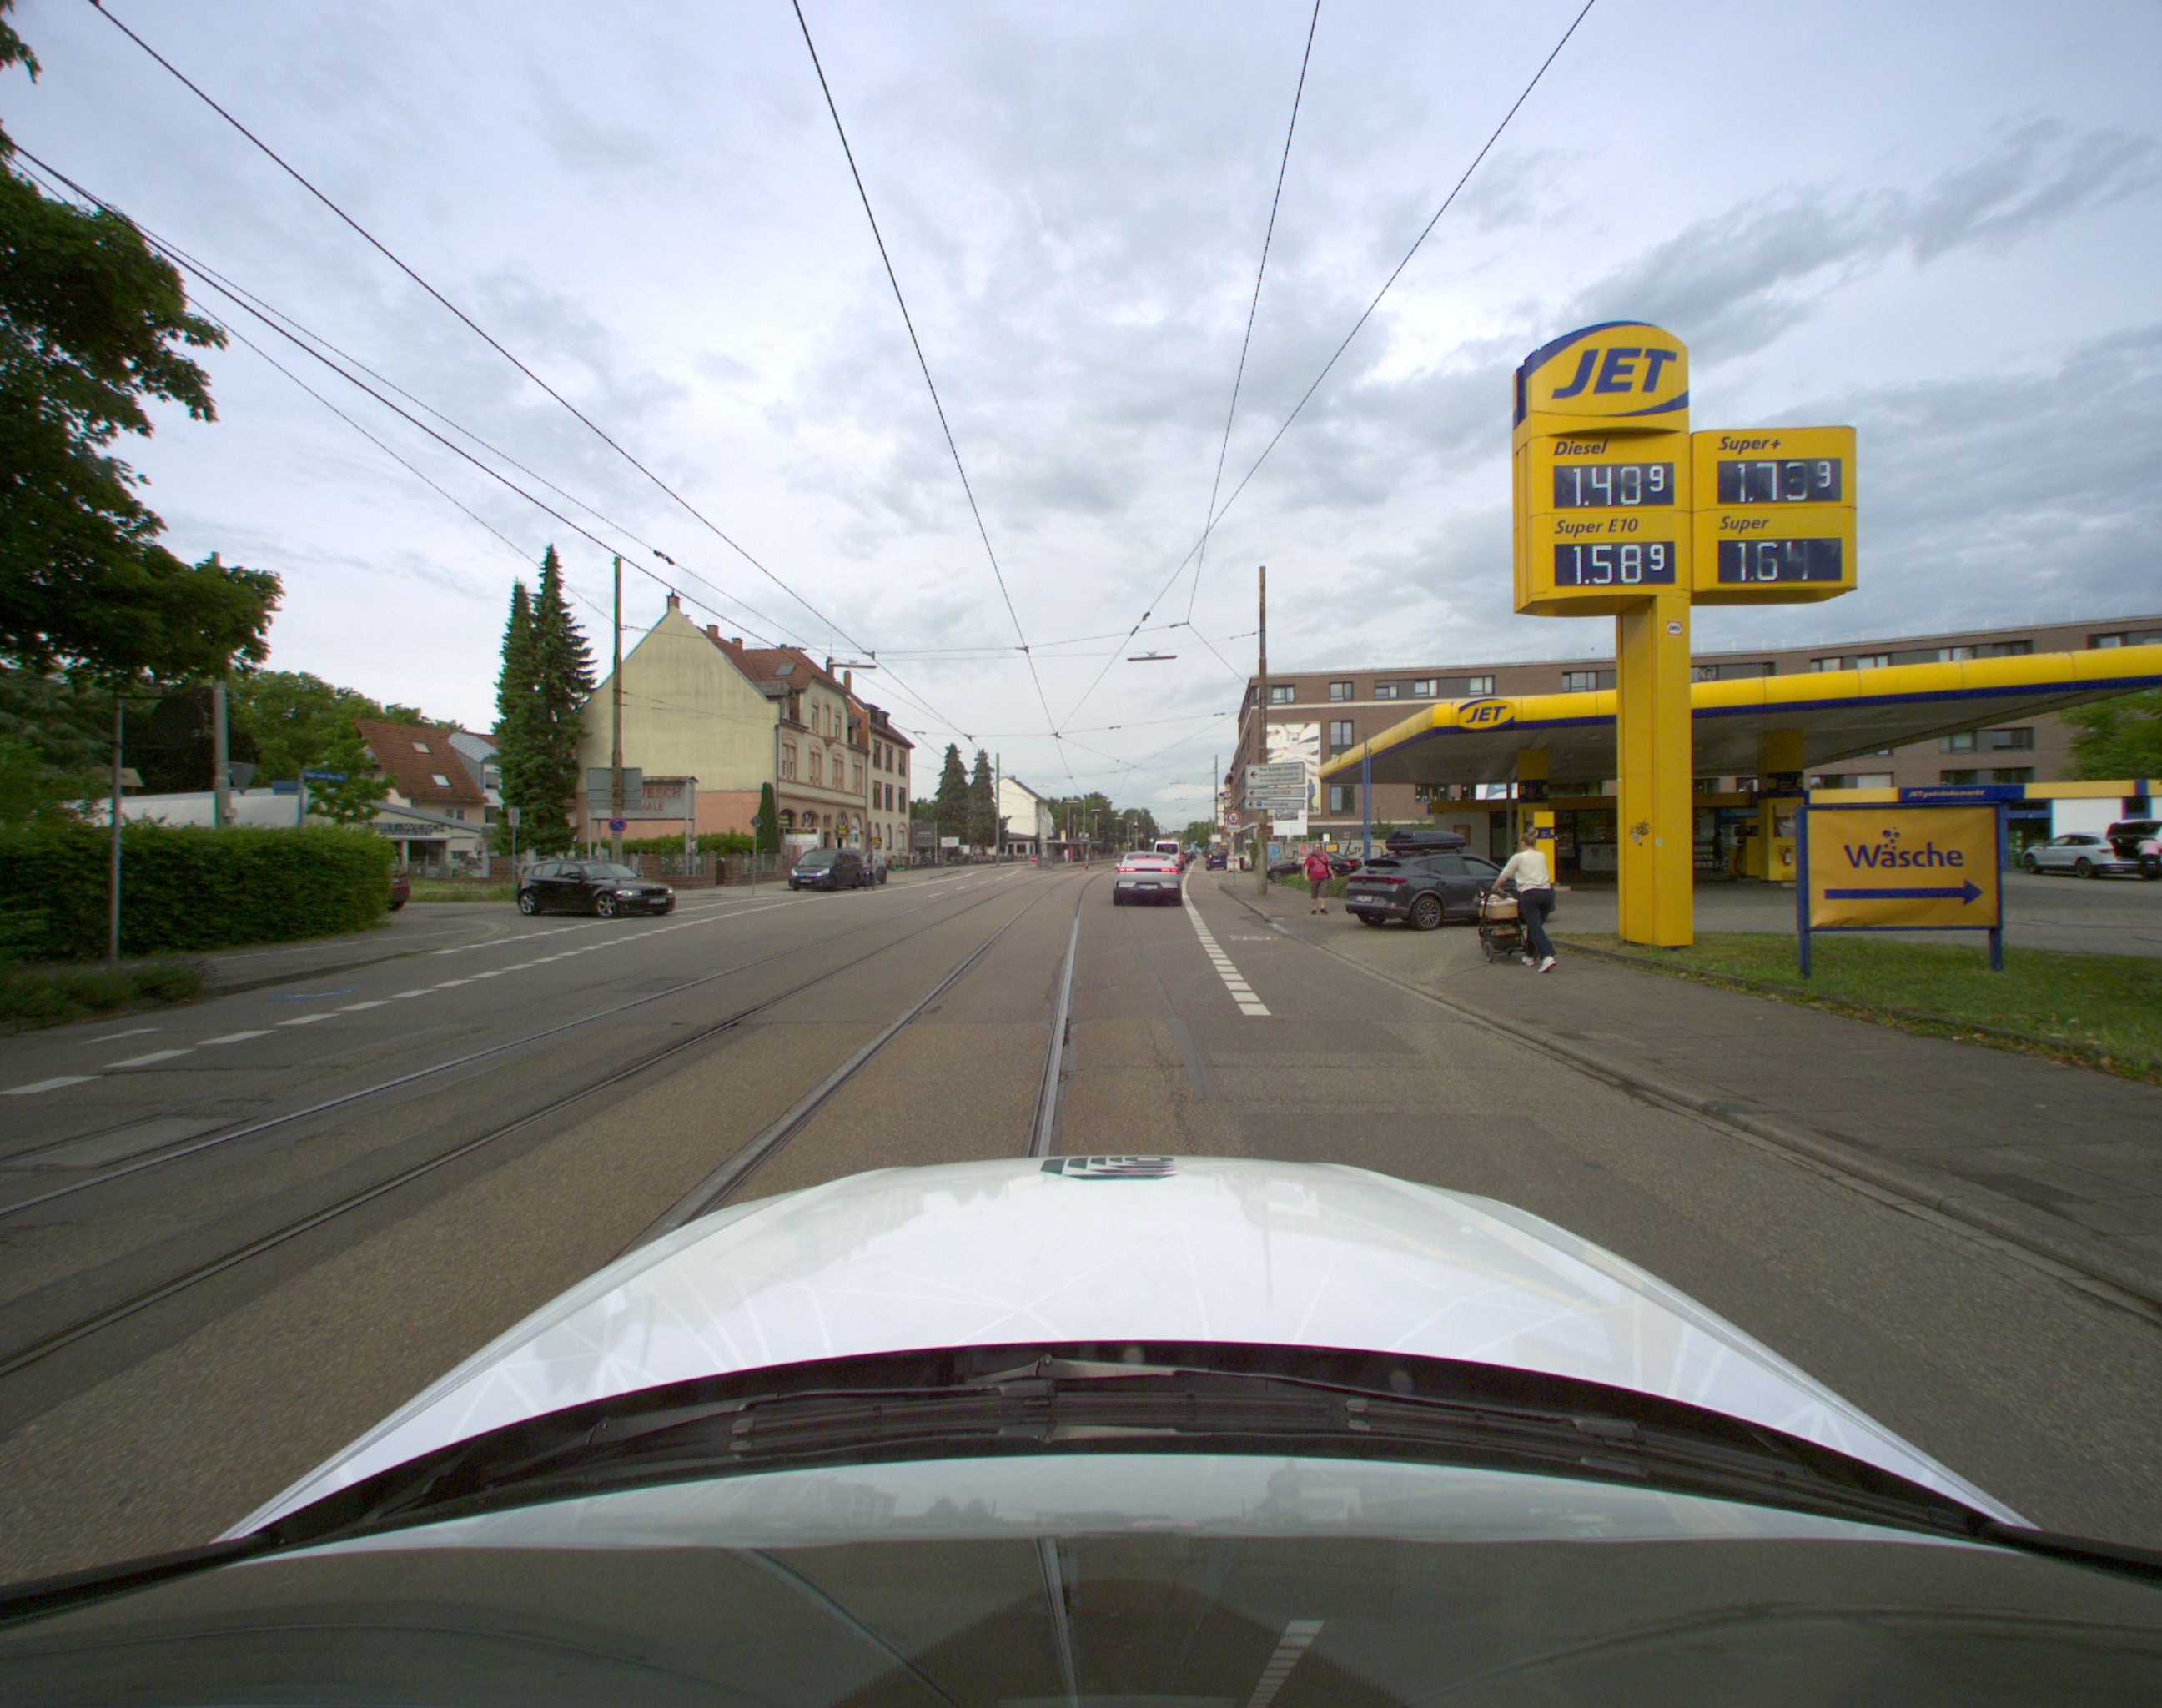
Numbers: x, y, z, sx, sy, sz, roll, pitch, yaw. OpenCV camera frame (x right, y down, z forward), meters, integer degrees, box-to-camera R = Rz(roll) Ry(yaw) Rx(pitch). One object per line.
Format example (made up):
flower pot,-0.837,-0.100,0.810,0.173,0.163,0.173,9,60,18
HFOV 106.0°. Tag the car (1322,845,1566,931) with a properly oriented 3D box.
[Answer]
car,7.347,0.627,16.573,4.324,1.497,1.984,-1,0,-18

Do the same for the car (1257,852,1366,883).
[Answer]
car,11.443,0.642,40.548,4.823,1.427,1.965,-1,0,38

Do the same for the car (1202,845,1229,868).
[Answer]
car,11.220,0.191,68.211,1.866,1.823,4.100,1,0,4

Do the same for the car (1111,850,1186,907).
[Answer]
car,1.929,0.664,24.575,1.975,1.550,4.184,1,0,1

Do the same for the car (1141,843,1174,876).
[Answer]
car,4.842,0.350,51.703,1.984,2.014,4.004,1,0,4

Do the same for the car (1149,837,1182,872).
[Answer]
car,6.177,0.039,59.992,2.207,2.423,4.955,1,0,3

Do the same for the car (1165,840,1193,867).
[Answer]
car,8.337,-0.035,69.448,2.130,2.145,4.748,1,0,4

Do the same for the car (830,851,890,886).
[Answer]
car,-11.567,0.739,42.893,1.837,1.718,4.196,1,0,2

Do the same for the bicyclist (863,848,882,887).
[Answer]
bicyclist,-9.542,0.605,37.275,0.735,1.749,0.975,-2,0,-10

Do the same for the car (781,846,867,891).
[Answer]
car,-11.545,0.622,36.970,1.983,1.887,5.003,1,0,4

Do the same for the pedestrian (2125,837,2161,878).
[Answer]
pedestrian,35.561,0.114,27.242,0.573,1.347,0.615,1,-1,25

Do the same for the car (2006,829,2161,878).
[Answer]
car,36.458,-0.004,29.613,1.818,1.638,4.501,1,0,21

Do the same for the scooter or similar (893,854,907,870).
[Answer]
scooter or similar,-14.046,0.639,63.231,1.056,1.188,0.315,1,-1,-32

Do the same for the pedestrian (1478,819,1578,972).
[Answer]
pedestrian,5.640,0.502,10.349,0.762,1.797,1.167,-3,-1,15

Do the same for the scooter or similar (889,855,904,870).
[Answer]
scooter or similar,-14.407,0.648,63.705,1.056,1.188,0.315,1,-1,-32

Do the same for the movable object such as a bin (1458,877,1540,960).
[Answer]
movable object such as a bin,5.795,0.876,11.351,0.762,1.039,1.028,-3,-1,15

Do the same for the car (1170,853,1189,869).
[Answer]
car,12.780,0.938,106.220,1.987,2.014,4.000,1,0,1

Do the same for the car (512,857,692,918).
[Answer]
car,-11.920,0.790,20.297,3.886,1.388,1.811,0,0,21

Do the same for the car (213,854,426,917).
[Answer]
car,-19.194,0.766,20.644,3.697,1.417,1.769,1,2,0

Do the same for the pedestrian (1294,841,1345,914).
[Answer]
pedestrian,5.887,0.570,20.156,0.967,1.738,0.862,-3,-1,3

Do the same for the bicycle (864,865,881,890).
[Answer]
bicycle,-9.529,1.055,37.276,0.586,1.074,1.951,-2,0,-9

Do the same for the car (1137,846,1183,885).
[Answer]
car,3.714,0.535,39.024,1.961,1.756,3.840,1,0,2
